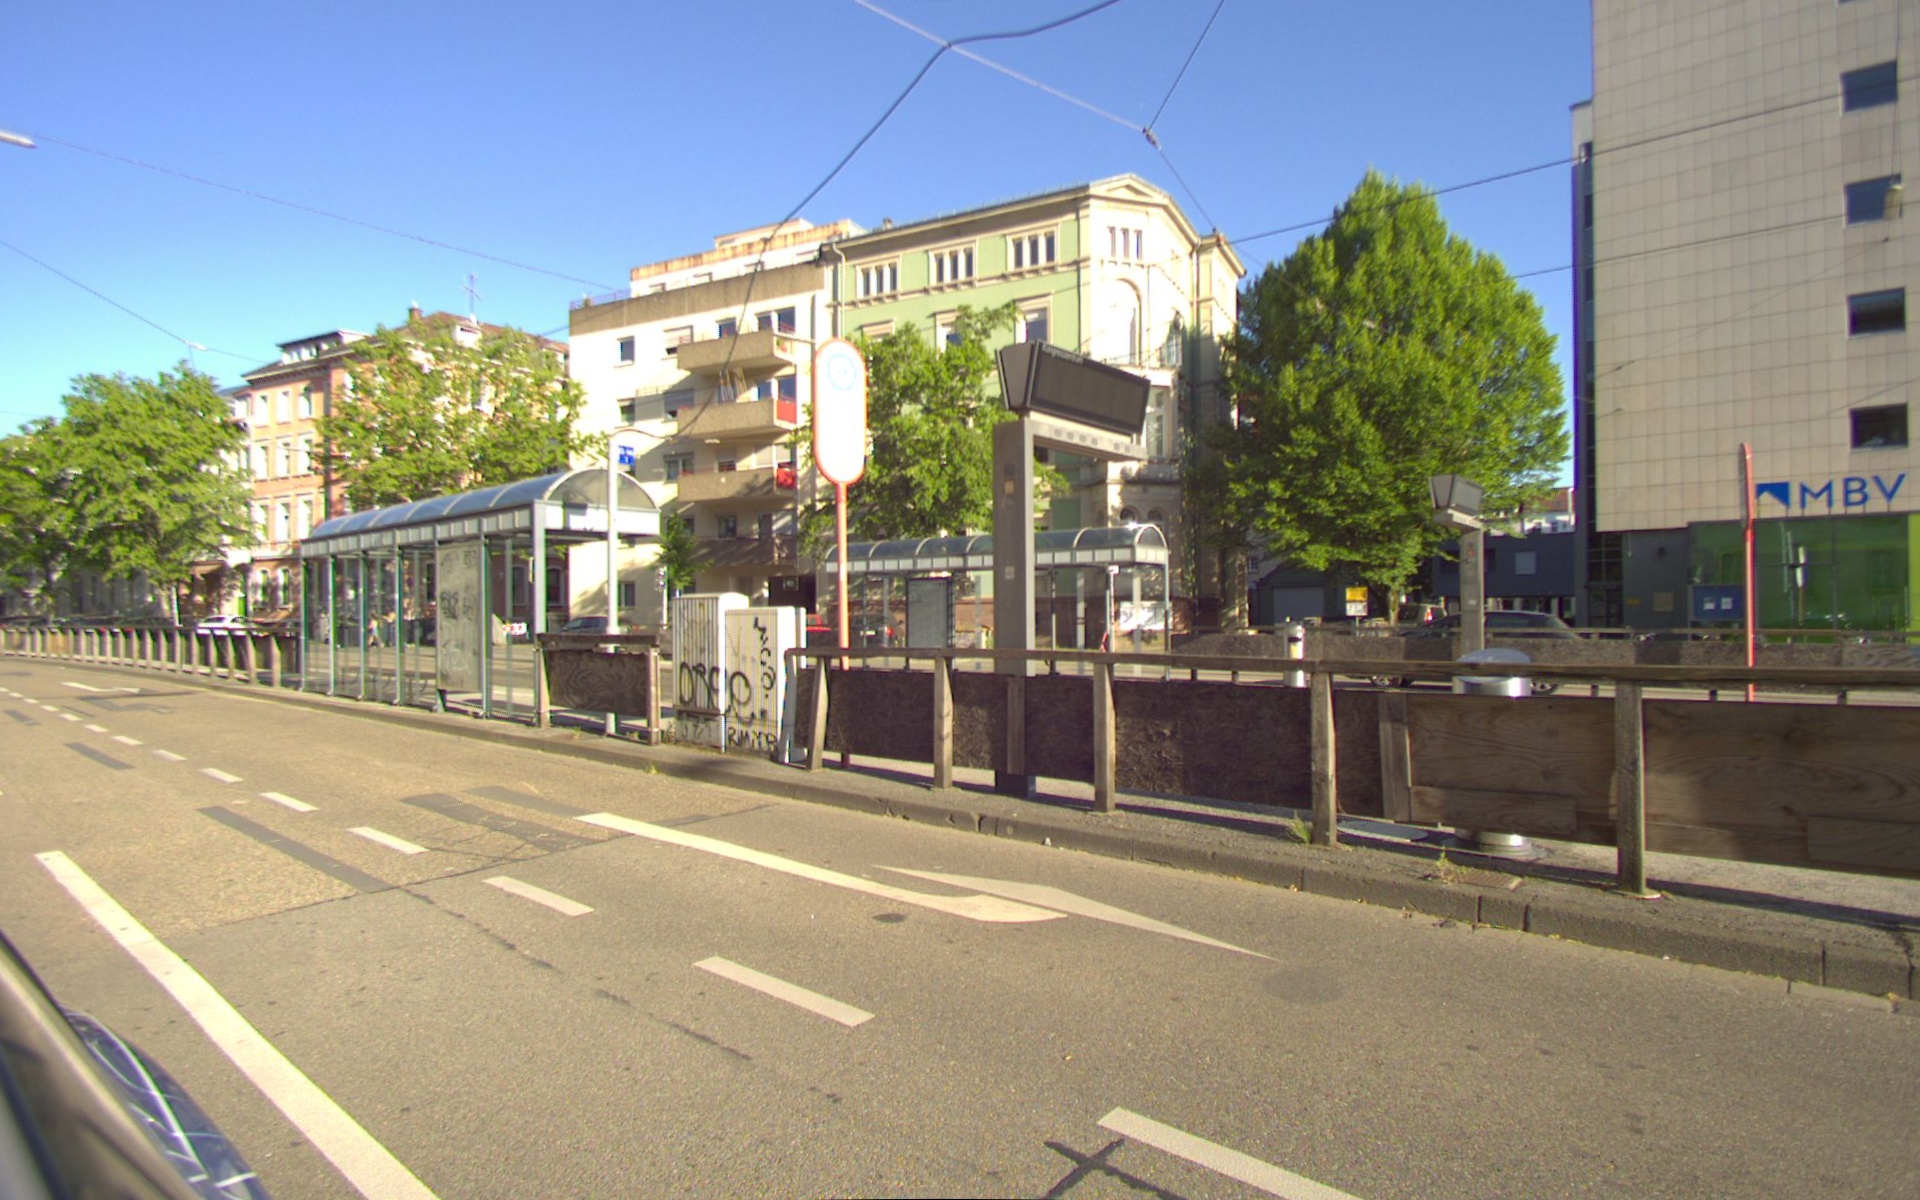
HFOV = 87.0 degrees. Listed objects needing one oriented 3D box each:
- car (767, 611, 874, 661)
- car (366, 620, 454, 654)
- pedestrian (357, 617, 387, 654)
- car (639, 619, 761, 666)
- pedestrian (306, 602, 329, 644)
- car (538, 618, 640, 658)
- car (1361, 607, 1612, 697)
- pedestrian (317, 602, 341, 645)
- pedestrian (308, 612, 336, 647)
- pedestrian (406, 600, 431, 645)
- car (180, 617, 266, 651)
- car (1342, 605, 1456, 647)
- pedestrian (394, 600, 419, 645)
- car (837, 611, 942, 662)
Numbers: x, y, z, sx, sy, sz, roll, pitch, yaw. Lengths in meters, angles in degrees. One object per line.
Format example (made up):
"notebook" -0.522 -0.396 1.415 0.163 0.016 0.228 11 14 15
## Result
"car" -4.694 1.207 34.590 1.754 1.594 3.965 -1 -1 26
"car" -23.775 1.584 43.730 3.986 1.407 1.592 -1 -2 32
"pedestrian" -26.917 1.621 46.324 0.879 1.641 0.869 0 -1 -1
"car" -8.283 1.332 32.157 3.870 1.419 1.650 -1 -2 35
"pedestrian" -34.203 1.231 53.910 0.755 2.224 0.803 -1 -2 36
"car" -14.141 1.425 38.517 3.725 1.438 1.637 -1 -1 29
"car" 9.746 0.920 18.845 3.990 1.500 1.629 -1 -2 35
"pedestrian" -32.993 1.215 52.903 0.753 2.224 0.804 -1 -2 30
"pedestrian" -31.922 1.475 50.633 1.016 1.733 0.846 -1 -2 32
"pedestrian" -26.938 1.136 50.326 0.753 2.224 0.804 -1 -2 30
"car" -39.481 1.793 54.338 1.825 1.721 4.130 0 -1 -5
"car" 15.778 0.896 36.472 1.544 1.423 3.430 -1 0 -38
"pedestrian" -27.774 1.147 50.765 0.753 2.224 0.804 -1 -2 30
"car" -2.260 1.175 33.542 1.754 1.594 3.965 -1 -1 26
